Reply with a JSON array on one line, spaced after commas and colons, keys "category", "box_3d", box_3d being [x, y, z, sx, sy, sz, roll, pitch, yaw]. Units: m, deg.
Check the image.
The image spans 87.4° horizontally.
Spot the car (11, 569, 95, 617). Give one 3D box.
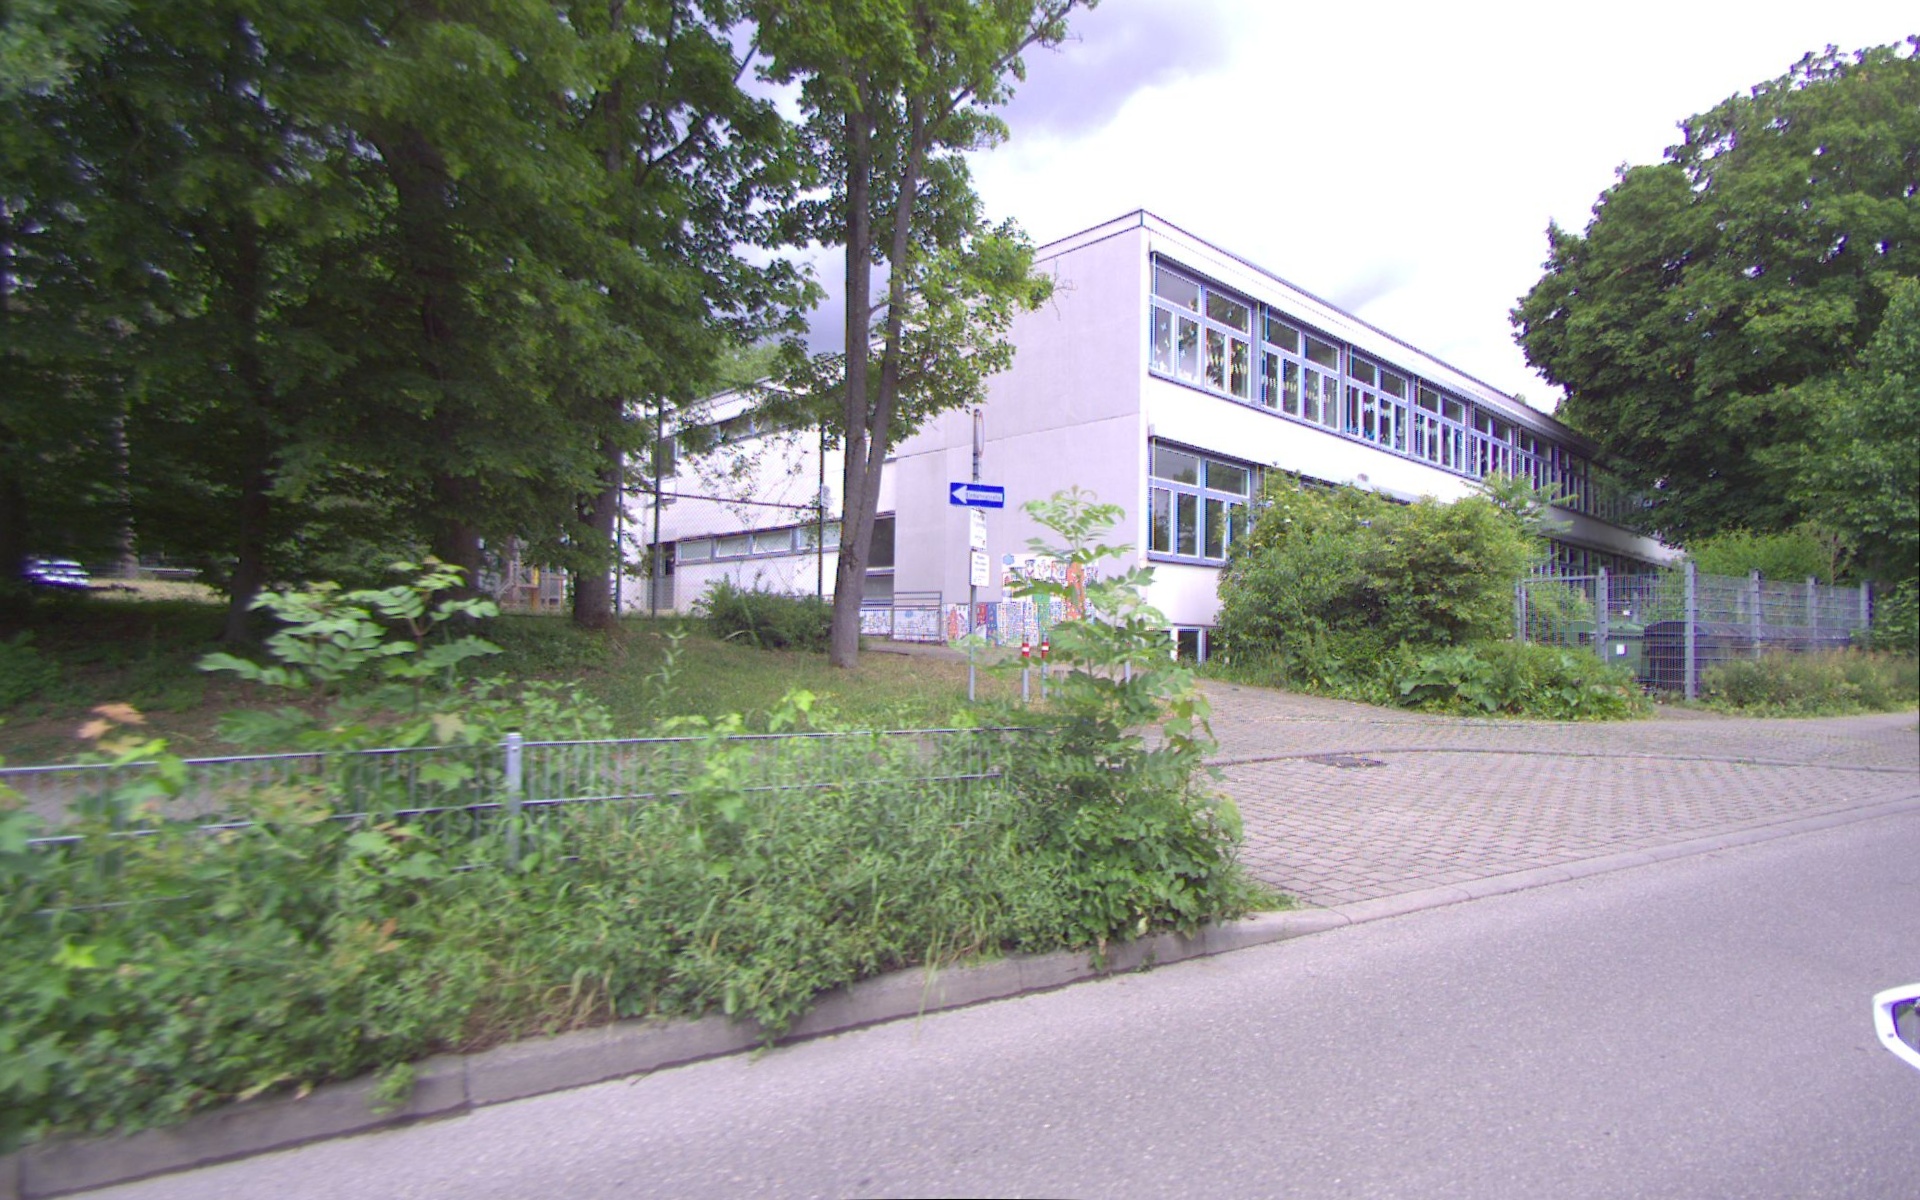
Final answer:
[{"category": "car", "box_3d": [-34.991, -0.216, 38.725, 4.385, 1.716, 1.964, -1, -2, 42]}]
